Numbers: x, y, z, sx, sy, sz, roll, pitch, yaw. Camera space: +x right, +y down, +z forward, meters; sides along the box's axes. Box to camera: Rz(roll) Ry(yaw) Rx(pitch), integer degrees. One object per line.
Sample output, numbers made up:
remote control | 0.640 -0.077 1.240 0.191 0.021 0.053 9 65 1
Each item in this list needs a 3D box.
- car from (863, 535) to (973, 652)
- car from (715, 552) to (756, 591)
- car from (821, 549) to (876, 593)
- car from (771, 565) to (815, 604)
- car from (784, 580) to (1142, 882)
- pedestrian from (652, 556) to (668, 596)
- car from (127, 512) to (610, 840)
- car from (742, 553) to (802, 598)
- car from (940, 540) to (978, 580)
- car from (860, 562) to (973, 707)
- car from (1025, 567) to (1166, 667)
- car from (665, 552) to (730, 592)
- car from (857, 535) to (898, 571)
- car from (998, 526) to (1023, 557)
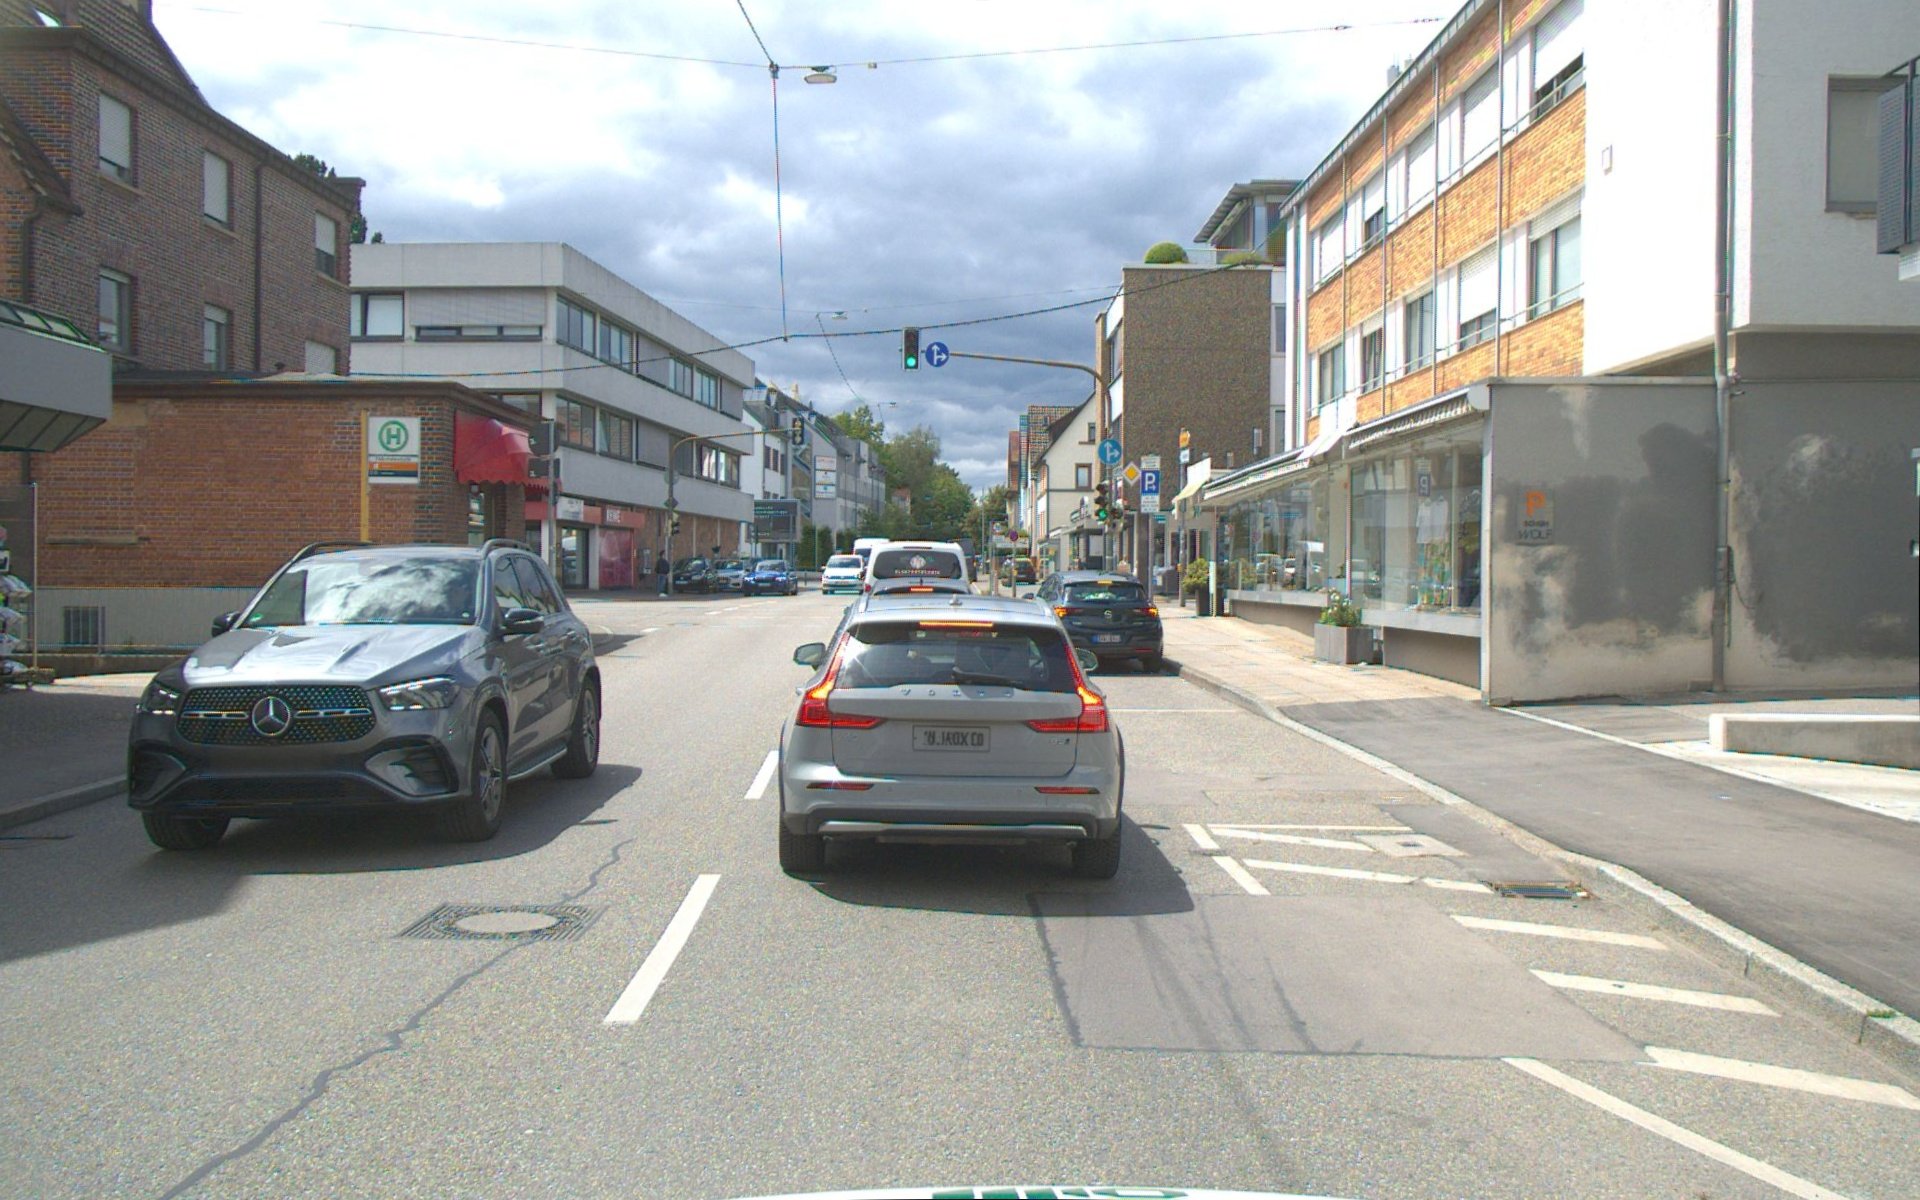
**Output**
car | -0.703 -0.156 29.194 1.799 1.894 3.850 1 1 0
car | -9.961 -1.258 73.473 1.356 1.568 3.398 0 -1 0
car | -4.659 -1.196 69.561 1.834 1.669 4.001 2 -1 2
car | -9.400 -0.868 93.415 1.953 2.049 4.000 2 -1 0
car | 0.003 0.646 9.897 1.708 1.442 3.999 0 -1 0
pedestrian | -11.113 -0.898 61.217 0.506 1.461 0.487 0 0 -19
car | -3.642 0.425 11.090 1.802 1.756 4.349 0 -1 -2
car | -7.653 -0.979 67.585 1.834 1.669 4.001 2 -1 2
car | -0.064 -2.610 109.453 2.387 2.359 5.325 2 0 -1
car | -0.509 0.350 19.878 1.248 1.554 3.050 0 2 -1
car | 2.023 0.202 25.696 1.717 1.394 3.999 1 1 -2
car | -10.689 -1.111 67.658 1.953 1.422 3.999 2 -1 0
car | -4.267 -2.424 86.081 1.834 1.669 4.000 0 -1 2
car | 3.742 -4.368 123.304 1.765 2.049 3.999 0 -1 0
